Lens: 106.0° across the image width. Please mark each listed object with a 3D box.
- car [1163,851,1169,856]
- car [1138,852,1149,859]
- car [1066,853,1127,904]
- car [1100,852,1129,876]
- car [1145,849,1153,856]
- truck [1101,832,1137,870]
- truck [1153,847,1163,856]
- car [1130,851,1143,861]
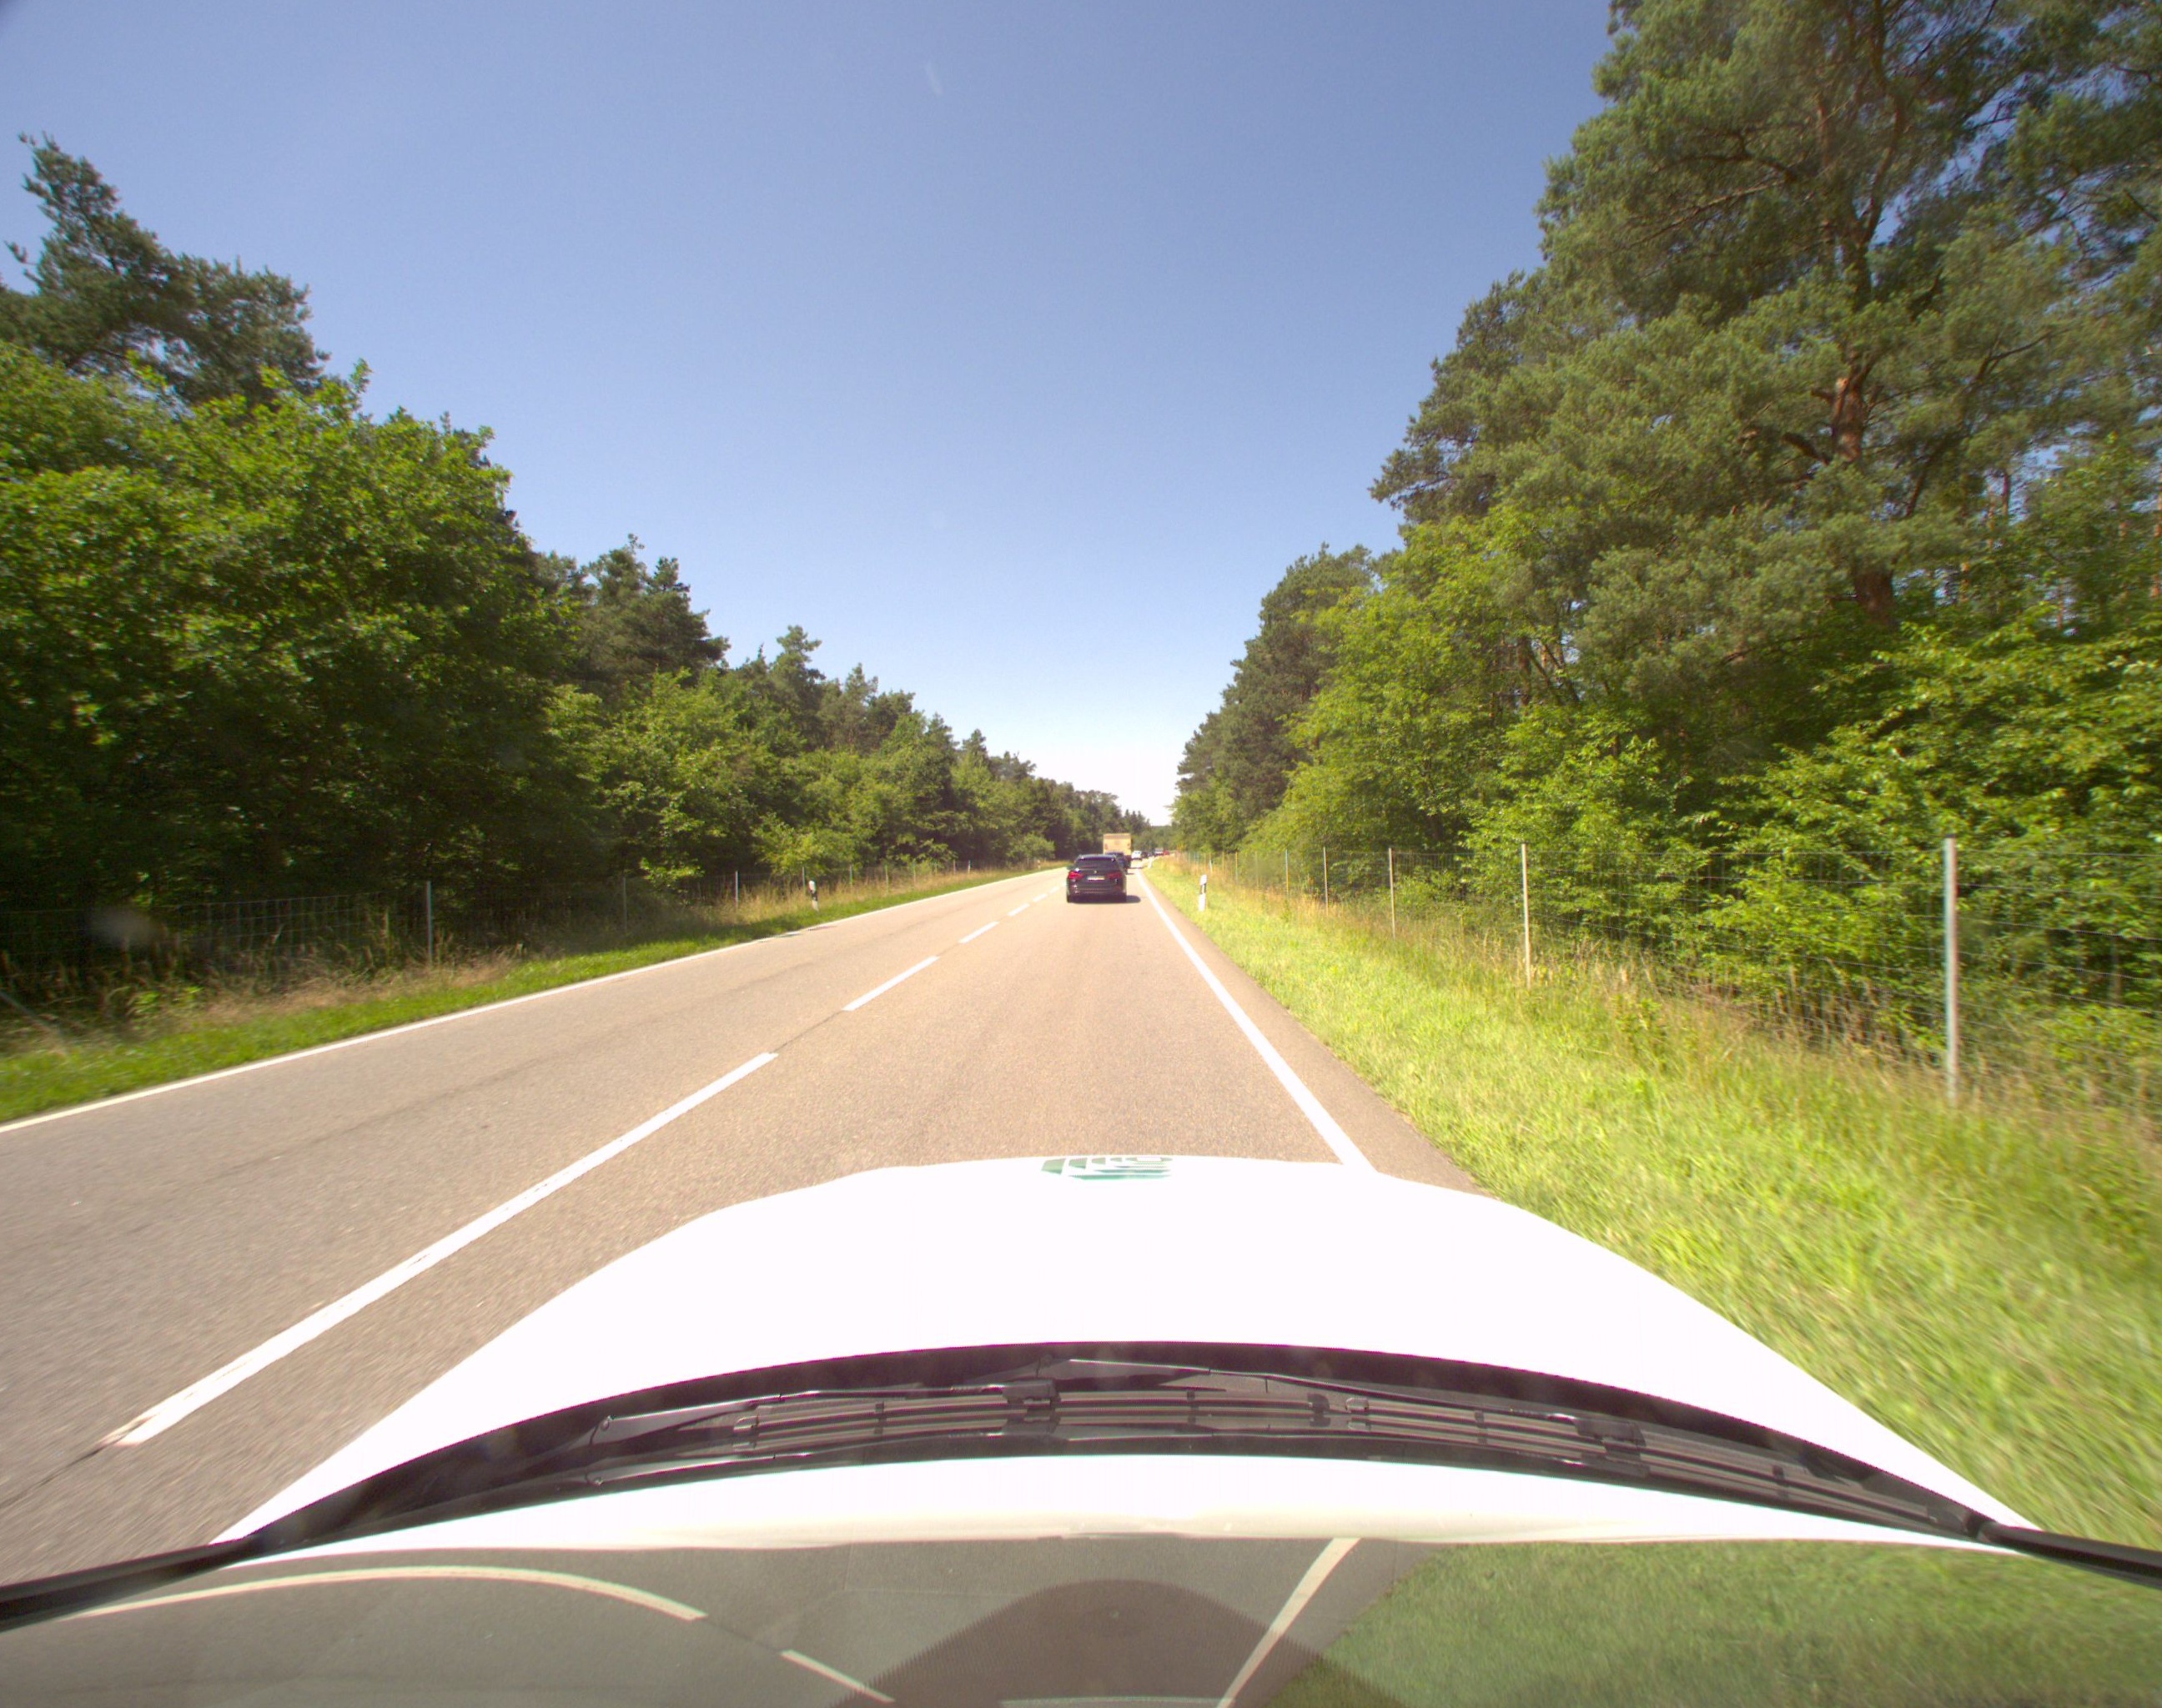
[{"bbox_3d":[26.825,-0.138,256.481,1.784,1.354,3.938,-2,0,9],"label":"car"},{"bbox_3d":[12.795,0.269,166.736,1.986,1.420,4.002,-1,0,2],"label":"car"},{"bbox_3d":[0.461,0.724,26.060,1.815,1.470,3.999,0,0,0],"label":"car"},{"bbox_3d":[2.356,0.673,57.323,1.940,1.541,4.002,-2,0,2],"label":"car"},{"bbox_3d":[16.595,-0.389,198.812,1.984,1.636,4.005,-2,0,5],"label":"car"},{"bbox_3d":[3.509,-0.281,76.686,2.956,3.387,6.438,-2,0,0],"label":"truck"},{"bbox_3d":[21.076,-0.635,222.527,2.550,2.202,4.984,-2,0,7],"label":"truck"},{"bbox_3d":[9.230,0.350,135.827,1.856,1.605,4.002,-2,0,2],"label":"car"}]
